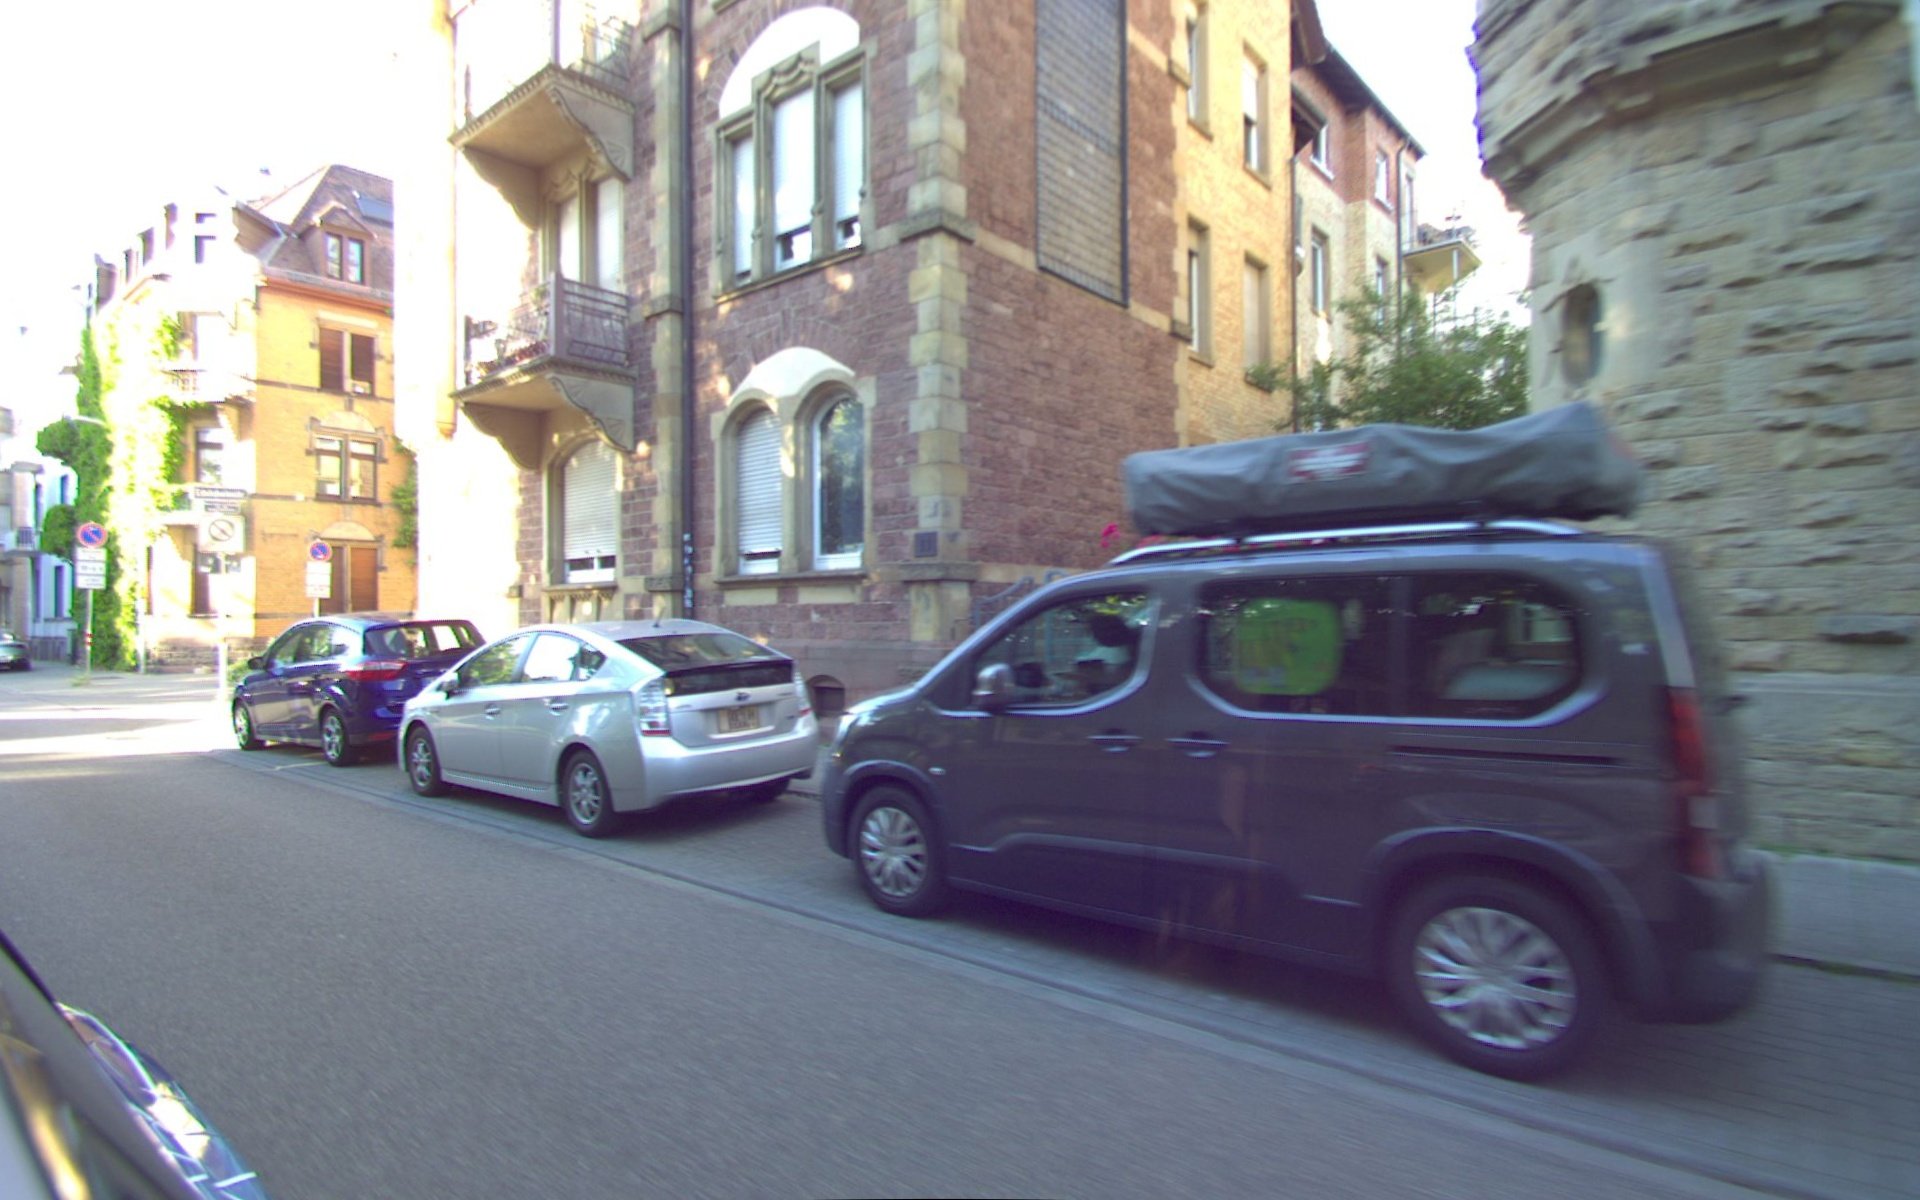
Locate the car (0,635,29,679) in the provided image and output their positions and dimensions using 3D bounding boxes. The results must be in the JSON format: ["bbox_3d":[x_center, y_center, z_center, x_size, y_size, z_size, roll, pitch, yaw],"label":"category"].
[{"bbox_3d":[-33.766,1.975,34.848,4.921,1.415,1.858,-2,0,40],"label":"car"}]

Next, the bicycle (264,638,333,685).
[{"bbox_3d":[-18.774,1.733,28.751,1.578,1.278,0.566,0,-2,-41],"label":"bicycle"}]

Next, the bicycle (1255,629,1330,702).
[{"bbox_3d":[5.455,1.029,16.516,0.608,1.087,2.333,-2,-2,32],"label":"bicycle"}]

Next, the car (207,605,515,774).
[{"bbox_3d":[-7.173,0.944,11.950,4.253,1.634,1.713,-2,-1,38],"label":"car"}]

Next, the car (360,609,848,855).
[{"bbox_3d":[-3.133,0.890,8.406,4.449,1.510,1.713,-2,-1,38],"label":"car"}]

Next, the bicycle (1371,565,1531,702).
[{"bbox_3d":[7.709,0.518,15.905,2.158,2.029,1.019,0,-2,-22],"label":"bicycle"}]

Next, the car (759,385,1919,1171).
[{"bbox_3d":[1.316,0.500,4.692,4.492,1.989,1.950,-2,-1,38],"label":"car"}]
